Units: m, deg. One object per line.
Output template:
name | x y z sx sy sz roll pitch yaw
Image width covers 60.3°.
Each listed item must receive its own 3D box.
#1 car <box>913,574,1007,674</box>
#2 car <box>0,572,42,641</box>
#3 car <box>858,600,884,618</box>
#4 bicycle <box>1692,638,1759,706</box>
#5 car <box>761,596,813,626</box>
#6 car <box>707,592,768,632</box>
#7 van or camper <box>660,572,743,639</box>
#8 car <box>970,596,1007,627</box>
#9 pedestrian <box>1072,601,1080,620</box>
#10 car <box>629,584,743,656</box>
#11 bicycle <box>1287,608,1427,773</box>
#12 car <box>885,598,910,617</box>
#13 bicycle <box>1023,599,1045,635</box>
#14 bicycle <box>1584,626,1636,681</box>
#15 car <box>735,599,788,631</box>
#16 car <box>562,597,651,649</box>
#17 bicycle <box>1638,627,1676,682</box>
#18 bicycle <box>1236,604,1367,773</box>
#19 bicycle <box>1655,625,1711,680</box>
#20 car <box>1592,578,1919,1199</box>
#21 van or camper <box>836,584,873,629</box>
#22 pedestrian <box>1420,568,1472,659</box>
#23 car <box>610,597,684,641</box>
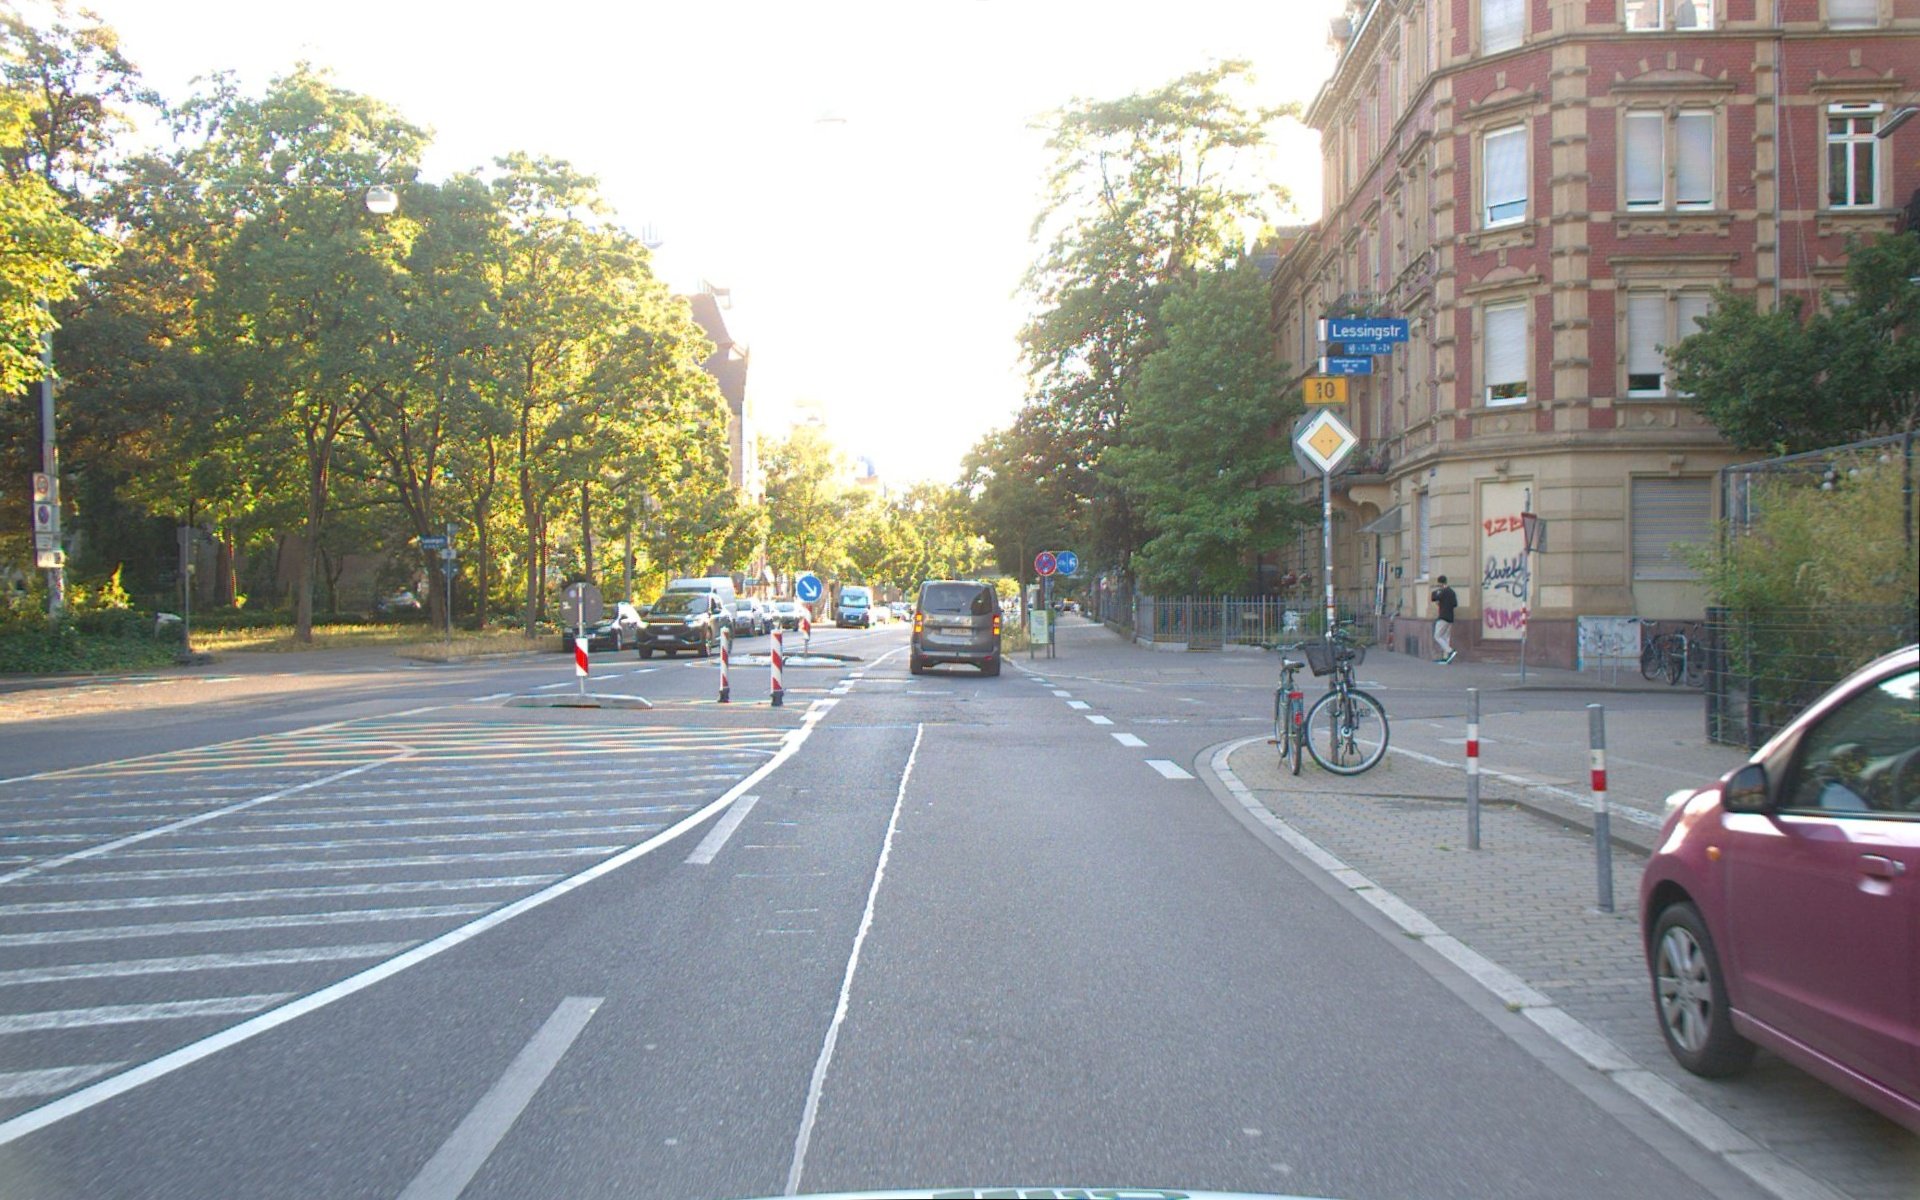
car | -0.047 0.471 34.936 1.849 1.958 3.838 -1 0 -1
car | -36.995 0.242 60.868 2.229 2.529 5.213 0 0 37
car | -6.423 0.647 120.183 1.504 1.270 3.615 2 0 2
bicycle | 9.951 0.931 21.541 0.288 0.831 1.736 1 -2 8
car | -8.886 0.566 85.293 1.952 1.509 4.831 0 0 3
car | -9.779 0.498 73.051 1.827 1.673 4.573 -1 0 3
van or camper | -10.330 0.207 66.510 2.047 2.511 6.307 -1 0 2
car | 1.603 0.634 92.175 1.952 1.662 4.001 0 0 2
pedestrian | 10.412 0.941 148.446 0.631 1.661 0.656 2 0 4
car | -7.200 0.500 43.970 1.837 1.735 4.570 -3 0 5
bicycle | 3.437 0.755 14.527 0.554 1.297 2.264 -4 -1 -1
car | -5.114 0.617 134.959 1.661 1.477 4.001 2 0 2
bicycle | 2.521 0.570 56.394 0.633 1.187 1.930 2 0 -1
bicycle | 11.424 0.925 29.102 0.285 0.831 1.498 2 3 0
car | -9.405 0.681 78.661 1.699 1.471 4.627 0 0 3
car | -11.050 0.695 51.996 1.589 1.533 4.546 -1 0 3
bicycle | 12.227 0.941 29.040 0.288 0.831 1.499 2 3 11
bicycle | 2.951 0.742 14.509 0.554 1.322 2.264 -4 -1 -1
bicycle | 12.687 0.909 29.056 0.288 0.831 1.498 2 3 0
car | 3.178 0.694 4.253 1.691 1.490 3.547 -3 0 0
van or camper | -6.707 0.376 105.660 1.953 2.715 6.037 2 0 -1
pedestrian | 9.987 0.273 34.030 0.730 1.809 0.831 -3 0 -1
car | -10.849 0.634 57.620 1.594 1.454 4.244 -1 0 2
